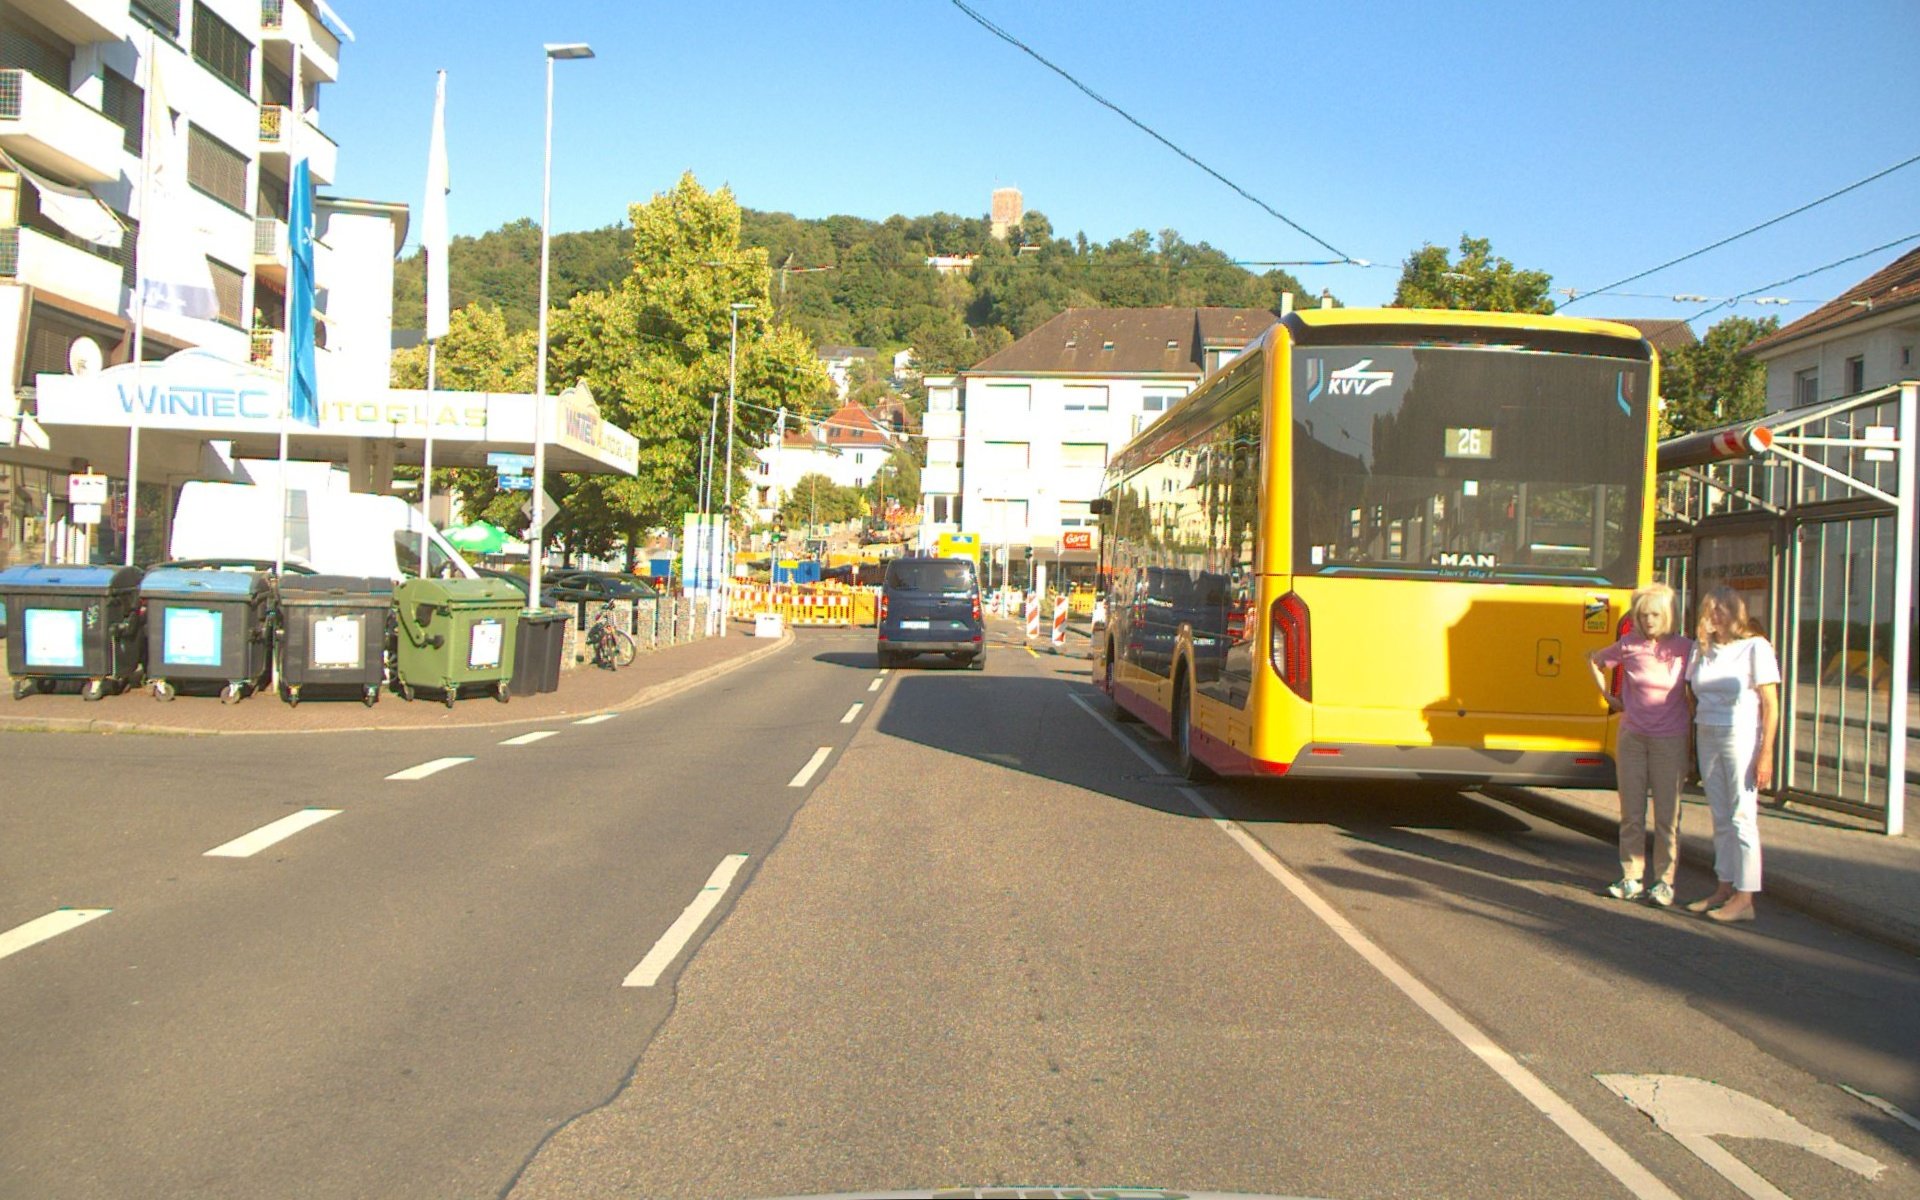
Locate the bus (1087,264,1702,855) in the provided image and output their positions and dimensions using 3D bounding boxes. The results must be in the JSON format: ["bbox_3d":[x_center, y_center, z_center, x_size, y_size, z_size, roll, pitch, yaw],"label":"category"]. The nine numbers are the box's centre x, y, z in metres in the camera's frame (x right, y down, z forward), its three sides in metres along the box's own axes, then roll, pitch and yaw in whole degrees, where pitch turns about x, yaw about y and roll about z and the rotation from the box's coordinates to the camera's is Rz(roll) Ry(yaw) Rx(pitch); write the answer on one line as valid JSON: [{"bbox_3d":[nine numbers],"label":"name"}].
[{"bbox_3d":[3.070,-0.311,15.945,2.633,3.475,12.018,2,1,0],"label":"bus"}]

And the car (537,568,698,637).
[{"bbox_3d":[-8.532,0.034,41.020,1.896,1.480,4.244,2,1,-44],"label":"car"}]

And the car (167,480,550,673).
[{"bbox_3d":[-8.742,-0.299,24.256,4.985,2.512,2.095,2,0,-23],"label":"car"}]

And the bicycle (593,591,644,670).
[{"bbox_3d":[-5.475,0.466,26.594,0.710,1.198,1.777,2,0,-9],"label":"bicycle"}]

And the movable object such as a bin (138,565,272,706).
[{"bbox_3d":[-8.502,0.385,18.650,1.194,1.508,0.704,1,3,-5],"label":"movable object such as a bin"}]

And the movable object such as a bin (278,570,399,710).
[{"bbox_3d":[-7.069,0.429,18.802,1.205,1.508,0.697,0,4,-29],"label":"movable object such as a bin"}]

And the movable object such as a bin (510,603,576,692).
[{"bbox_3d":[-5.423,0.608,21.504,0.626,1.088,0.581,2,3,12],"label":"movable object such as a bin"}]

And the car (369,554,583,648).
[{"bbox_3d":[-8.721,0.036,29.966,1.594,1.596,3.372,2,0,43],"label":"car"}]

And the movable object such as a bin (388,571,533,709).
[{"bbox_3d":[-5.983,0.443,19.853,1.035,1.508,1.311,3,4,28],"label":"movable object such as a bin"}]

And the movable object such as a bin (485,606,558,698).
[{"bbox_3d":[-5.528,0.652,20.888,0.646,1.081,0.585,4,2,12],"label":"movable object such as a bin"}]

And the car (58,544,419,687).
[{"bbox_3d":[-9.062,0.192,21.112,3.920,1.595,1.766,3,1,-15],"label":"car"}]

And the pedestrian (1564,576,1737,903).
[{"bbox_3d":[3.643,0.703,8.734,0.540,1.641,0.627,2,0,-38],"label":"pedestrian"}]

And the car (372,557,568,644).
[{"bbox_3d":[-9.563,0.022,32.451,1.591,1.596,3.378,2,0,38],"label":"car"}]

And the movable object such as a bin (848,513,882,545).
[{"bbox_3d":[-8.753,-6.535,152.014,2.144,2.737,4.004,2,1,11],"label":"movable object such as a bin"}]

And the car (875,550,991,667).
[{"bbox_3d":[-0.485,0.151,31.446,2.020,2.049,4.999,0,0,-1],"label":"car"}]

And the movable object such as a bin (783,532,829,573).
[{"bbox_3d":[-10.889,-3.365,117.477,2.144,2.737,4.004,2,1,11],"label":"movable object such as a bin"}]

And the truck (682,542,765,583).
[{"bbox_3d":[-15.176,-2.354,106.945,2.306,2.458,9.160,2,1,12],"label":"truck"}]

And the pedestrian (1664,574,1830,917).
[{"bbox_3d":[3.966,0.702,8.337,0.540,1.641,0.542,2,0,-38],"label":"pedestrian"}]

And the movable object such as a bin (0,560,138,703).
[{"bbox_3d":[-9.877,0.337,18.366,1.155,1.508,0.704,1,3,-5],"label":"movable object such as a bin"}]
